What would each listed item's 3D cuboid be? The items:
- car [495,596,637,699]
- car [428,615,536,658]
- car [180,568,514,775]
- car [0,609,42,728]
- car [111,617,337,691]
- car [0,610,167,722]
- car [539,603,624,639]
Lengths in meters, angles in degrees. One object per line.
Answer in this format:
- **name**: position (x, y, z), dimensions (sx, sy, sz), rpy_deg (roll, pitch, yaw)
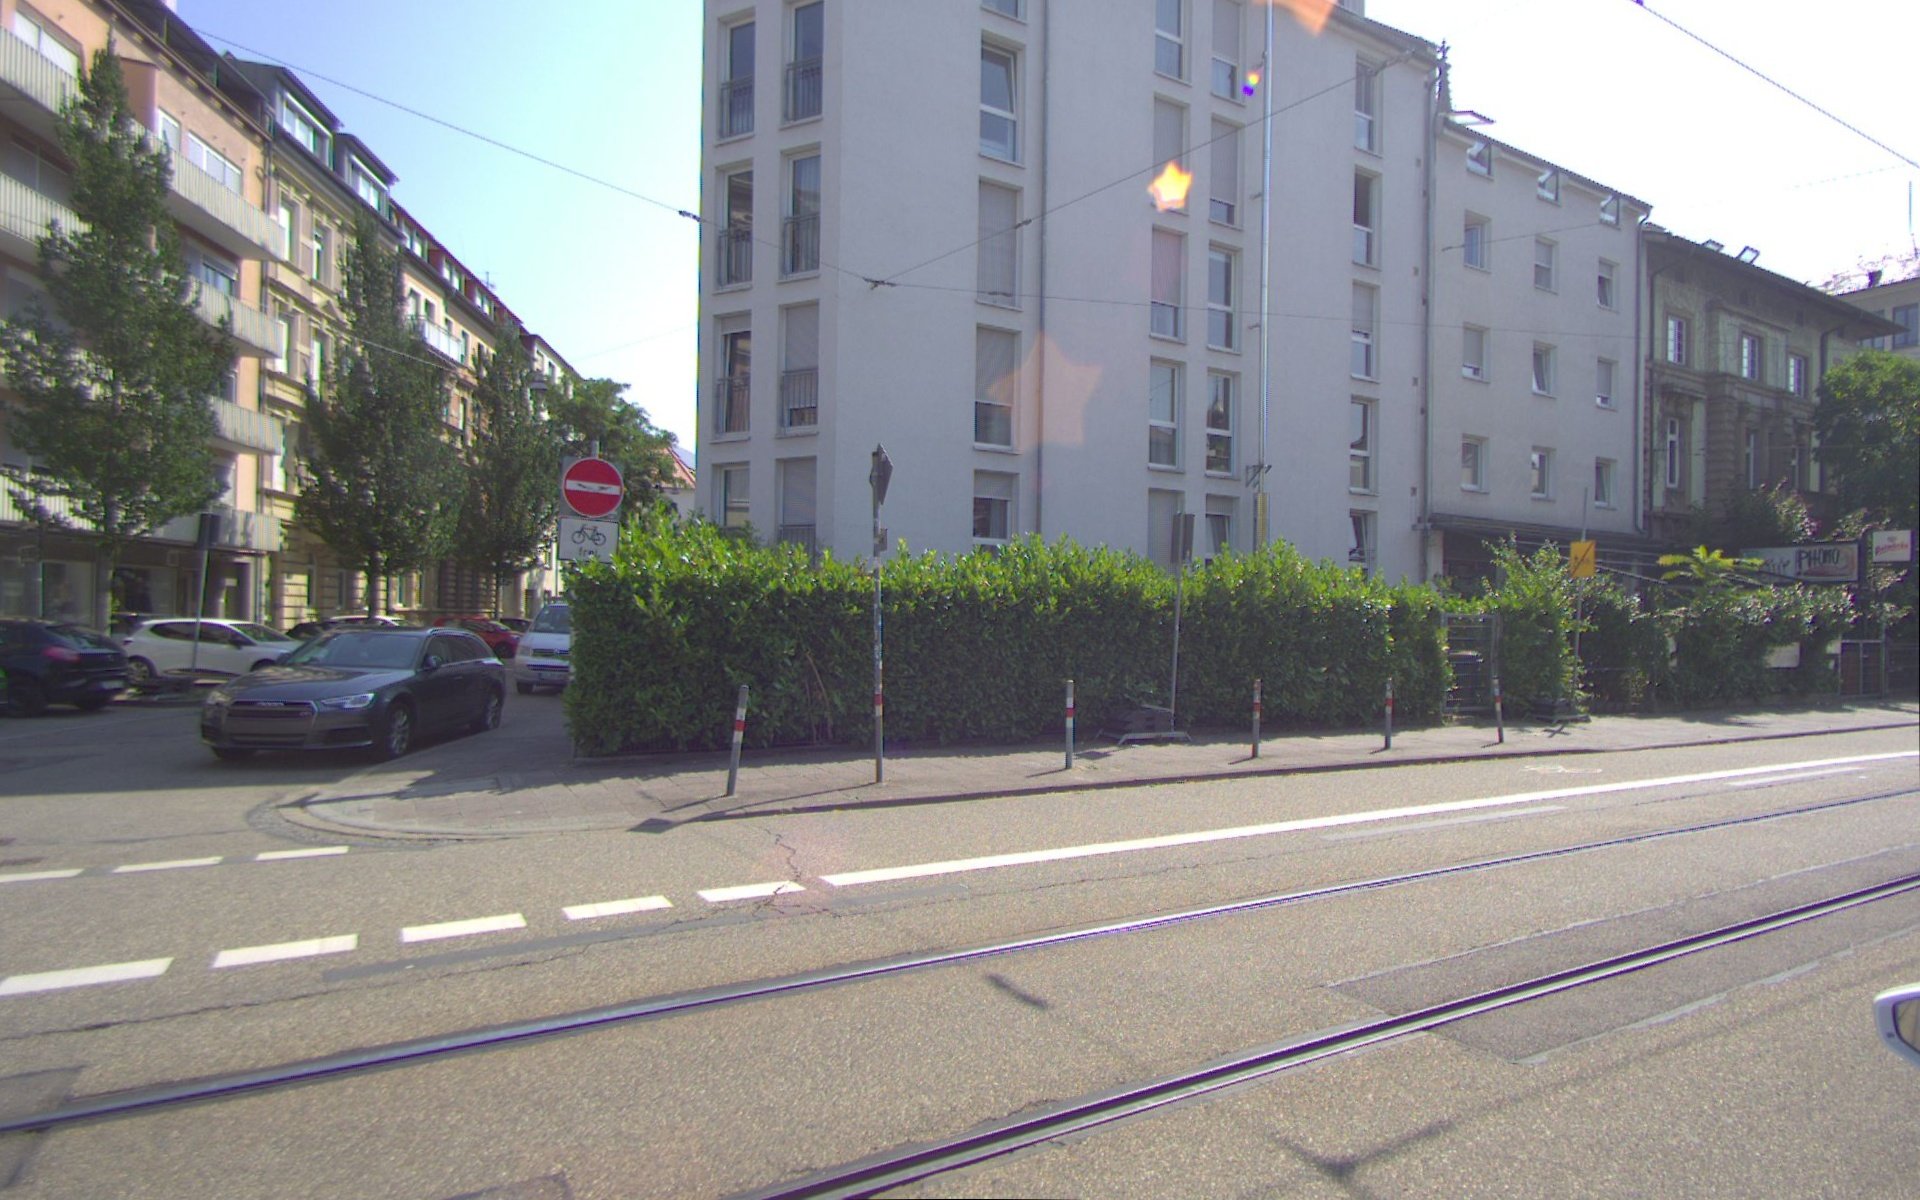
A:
- **car**: position (-8.551, 0.980, 22.189), dimensions (1.855, 2.014, 3.996), rpy_deg (2, -1, -6)
- **car**: position (-17.834, 1.354, 37.629), dimensions (3.224, 1.476, 1.737), rpy_deg (2, -1, -8)
- **car**: position (-6.934, 0.736, 11.935), dimensions (1.856, 2.014, 3.995), rpy_deg (2, -1, -7)
- **car**: position (-14.702, 0.872, 13.067), dimensions (3.671, 1.595, 1.737), rpy_deg (2, -1, -8)
- **car**: position (-16.043, 1.170, 22.072), dimensions (3.542, 1.476, 1.737), rpy_deg (2, -1, -8)
- **car**: position (-14.874, 0.967, 15.528), dimensions (3.671, 1.595, 1.737), rpy_deg (2, -1, -8)
- **car**: position (-18.474, 1.009, 49.134), dimensions (3.542, 1.610, 1.737), rpy_deg (2, -1, -8)
